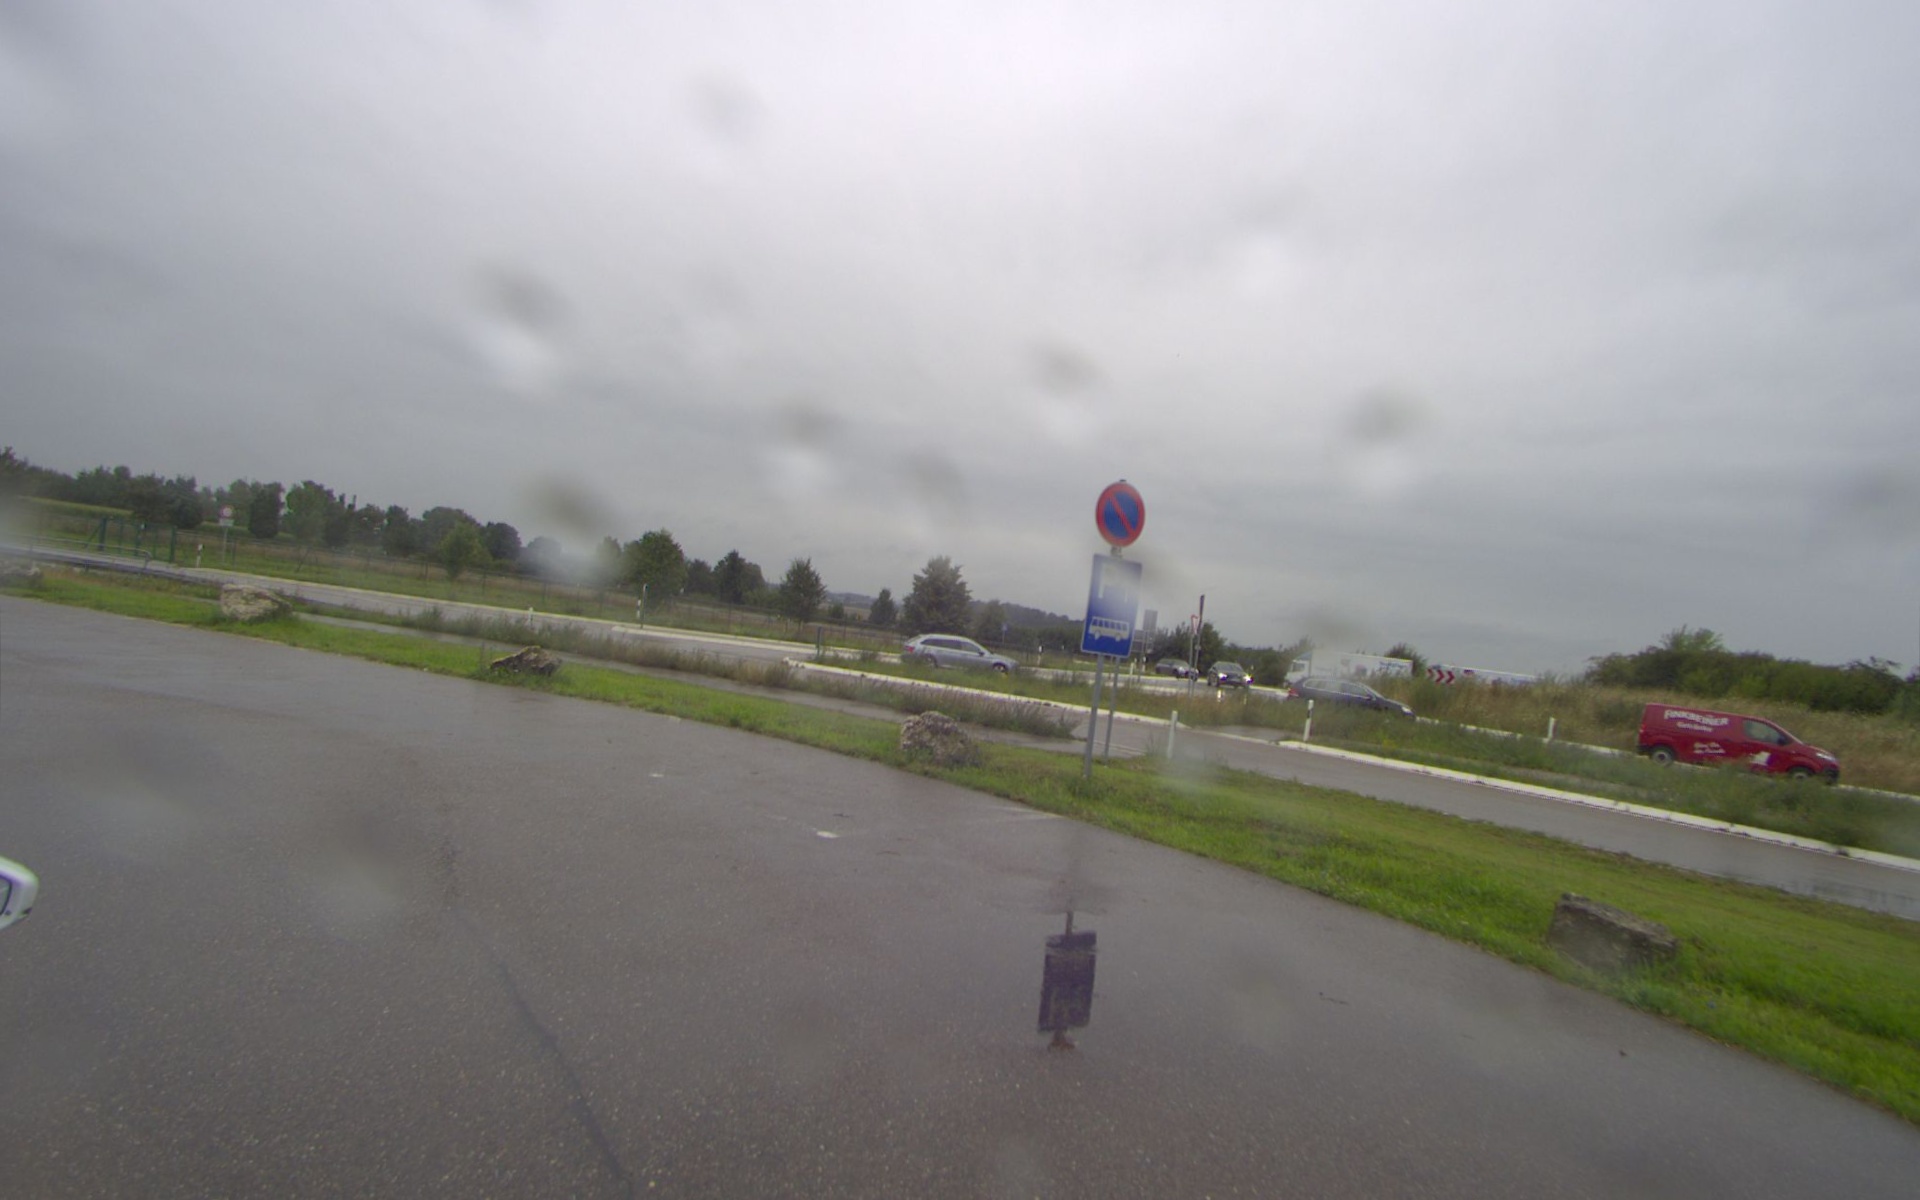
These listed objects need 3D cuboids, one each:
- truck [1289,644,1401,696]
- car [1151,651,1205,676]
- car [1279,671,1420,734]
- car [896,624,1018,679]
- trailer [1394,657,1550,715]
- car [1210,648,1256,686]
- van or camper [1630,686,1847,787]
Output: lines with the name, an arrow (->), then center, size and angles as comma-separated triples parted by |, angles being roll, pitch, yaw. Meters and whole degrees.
truck -> 29.619, 5.358, 77.695 | 7.646, 2.942, 2.185 | 7, -1, 19
car -> 16.050, 4.699, 74.330 | 1.731, 1.341, 4.289 | 5, 0, -21
car -> 14.153, 3.711, 36.557 | 4.446, 1.621, 1.999 | 6, -2, 28
car -> -0.169, 2.025, 39.844 | 4.579, 1.500, 1.998 | 7, 1, -4
trailer -> 38.182, 6.404, 75.332 | 9.948, 2.936, 2.210 | 7, -1, 12
car -> 15.638, 3.795, 57.800 | 1.856, 1.705, 4.671 | 6, 0, 8
van or camper -> 23.019, 3.953, 29.943 | 4.775, 2.040, 1.991 | 8, 2, 39
